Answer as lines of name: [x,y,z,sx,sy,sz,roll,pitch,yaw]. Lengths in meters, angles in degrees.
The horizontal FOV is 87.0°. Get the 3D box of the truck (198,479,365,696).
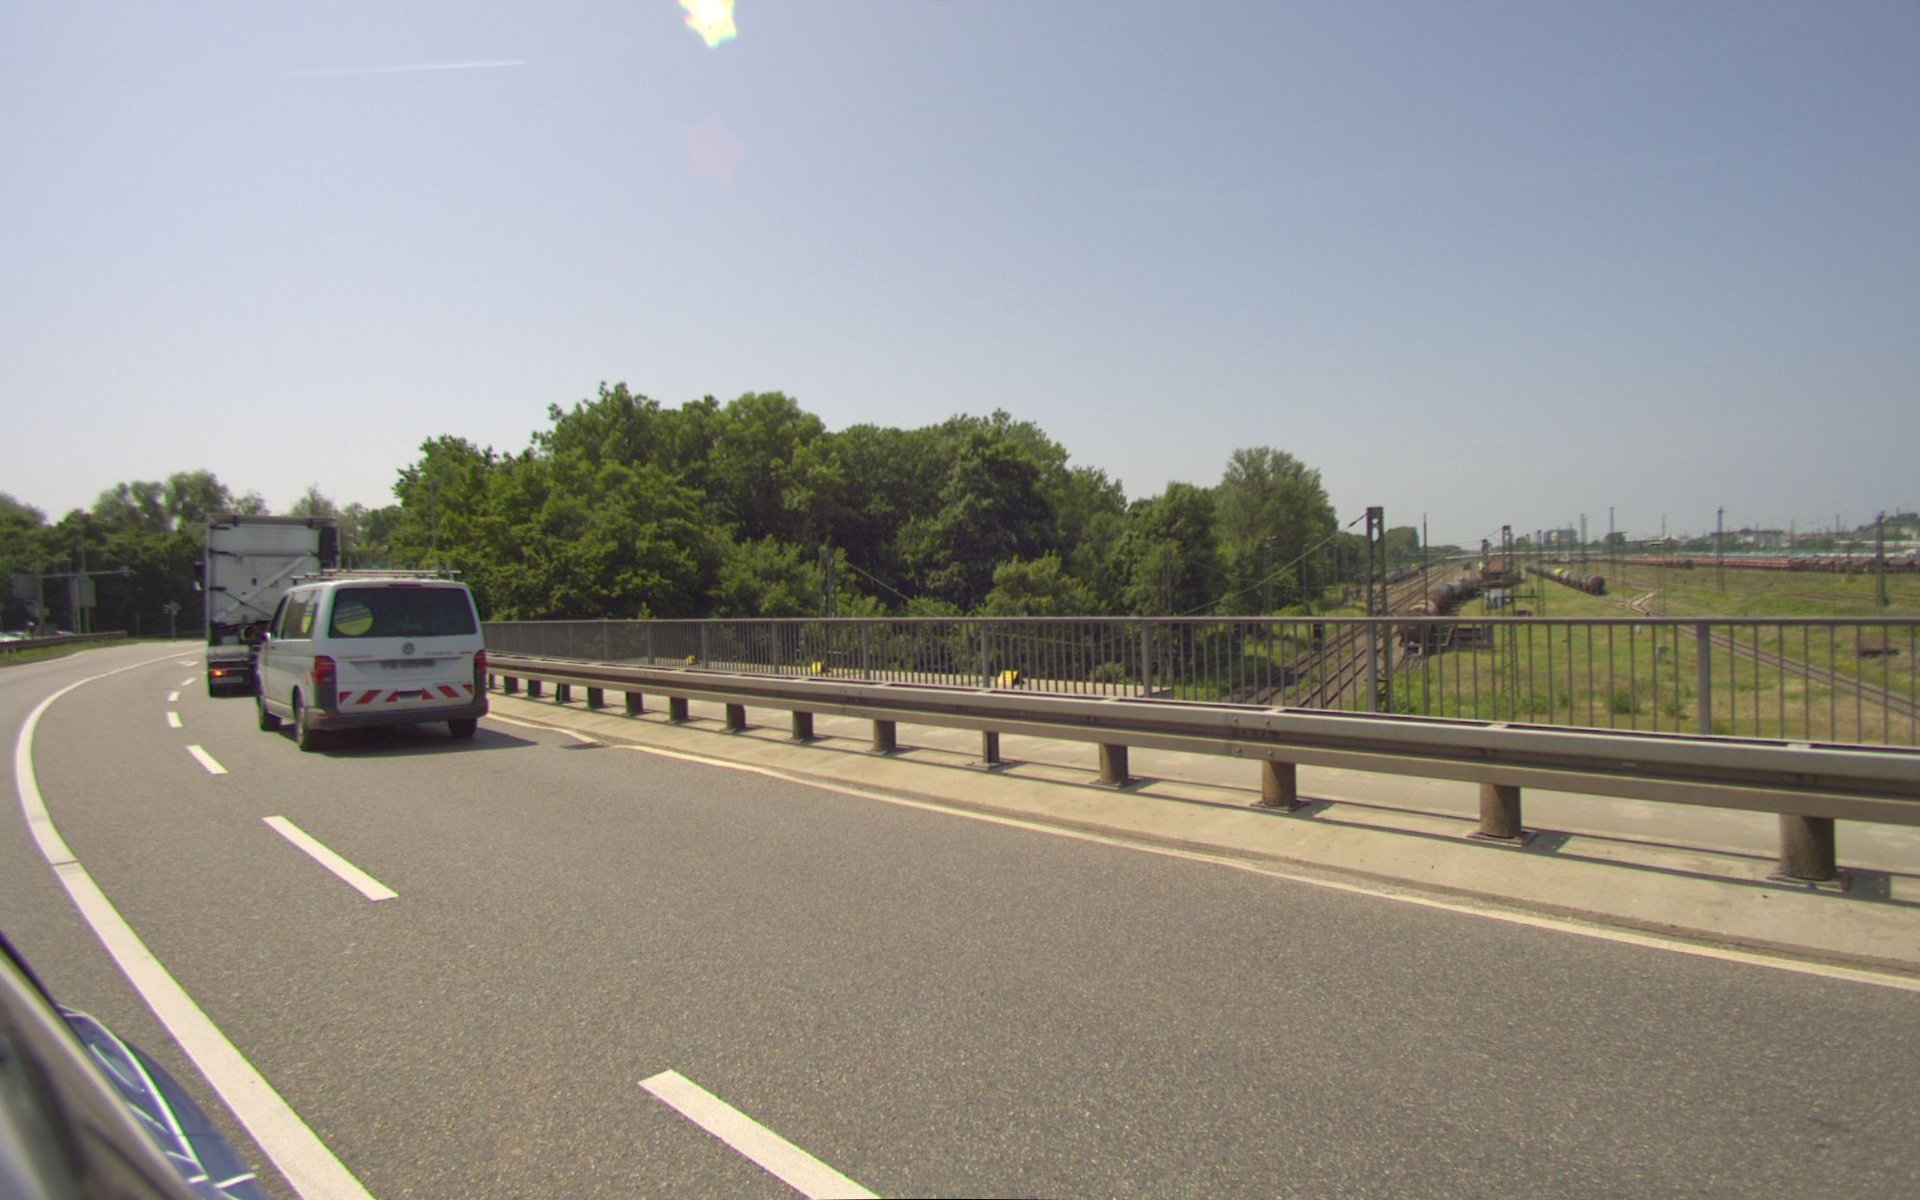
truck: [-14.865,-0.150,22.053,2.670,4.022,6.200,0,-2,-36]

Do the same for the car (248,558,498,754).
car: [-7.609,0.629,12.861,1.838,2.015,4.820,0,-1,-41]

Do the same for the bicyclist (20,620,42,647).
bicyclist: [-56.432,2.044,61.456,0.682,1.611,0.670,-2,0,4]

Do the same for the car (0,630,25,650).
car: [-75.826,3.196,78.821,4.237,1.517,1.868,-2,0,0]

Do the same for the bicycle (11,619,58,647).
bicycle: [-56.159,2.022,61.411,2.344,1.586,0.655,-2,0,5]
